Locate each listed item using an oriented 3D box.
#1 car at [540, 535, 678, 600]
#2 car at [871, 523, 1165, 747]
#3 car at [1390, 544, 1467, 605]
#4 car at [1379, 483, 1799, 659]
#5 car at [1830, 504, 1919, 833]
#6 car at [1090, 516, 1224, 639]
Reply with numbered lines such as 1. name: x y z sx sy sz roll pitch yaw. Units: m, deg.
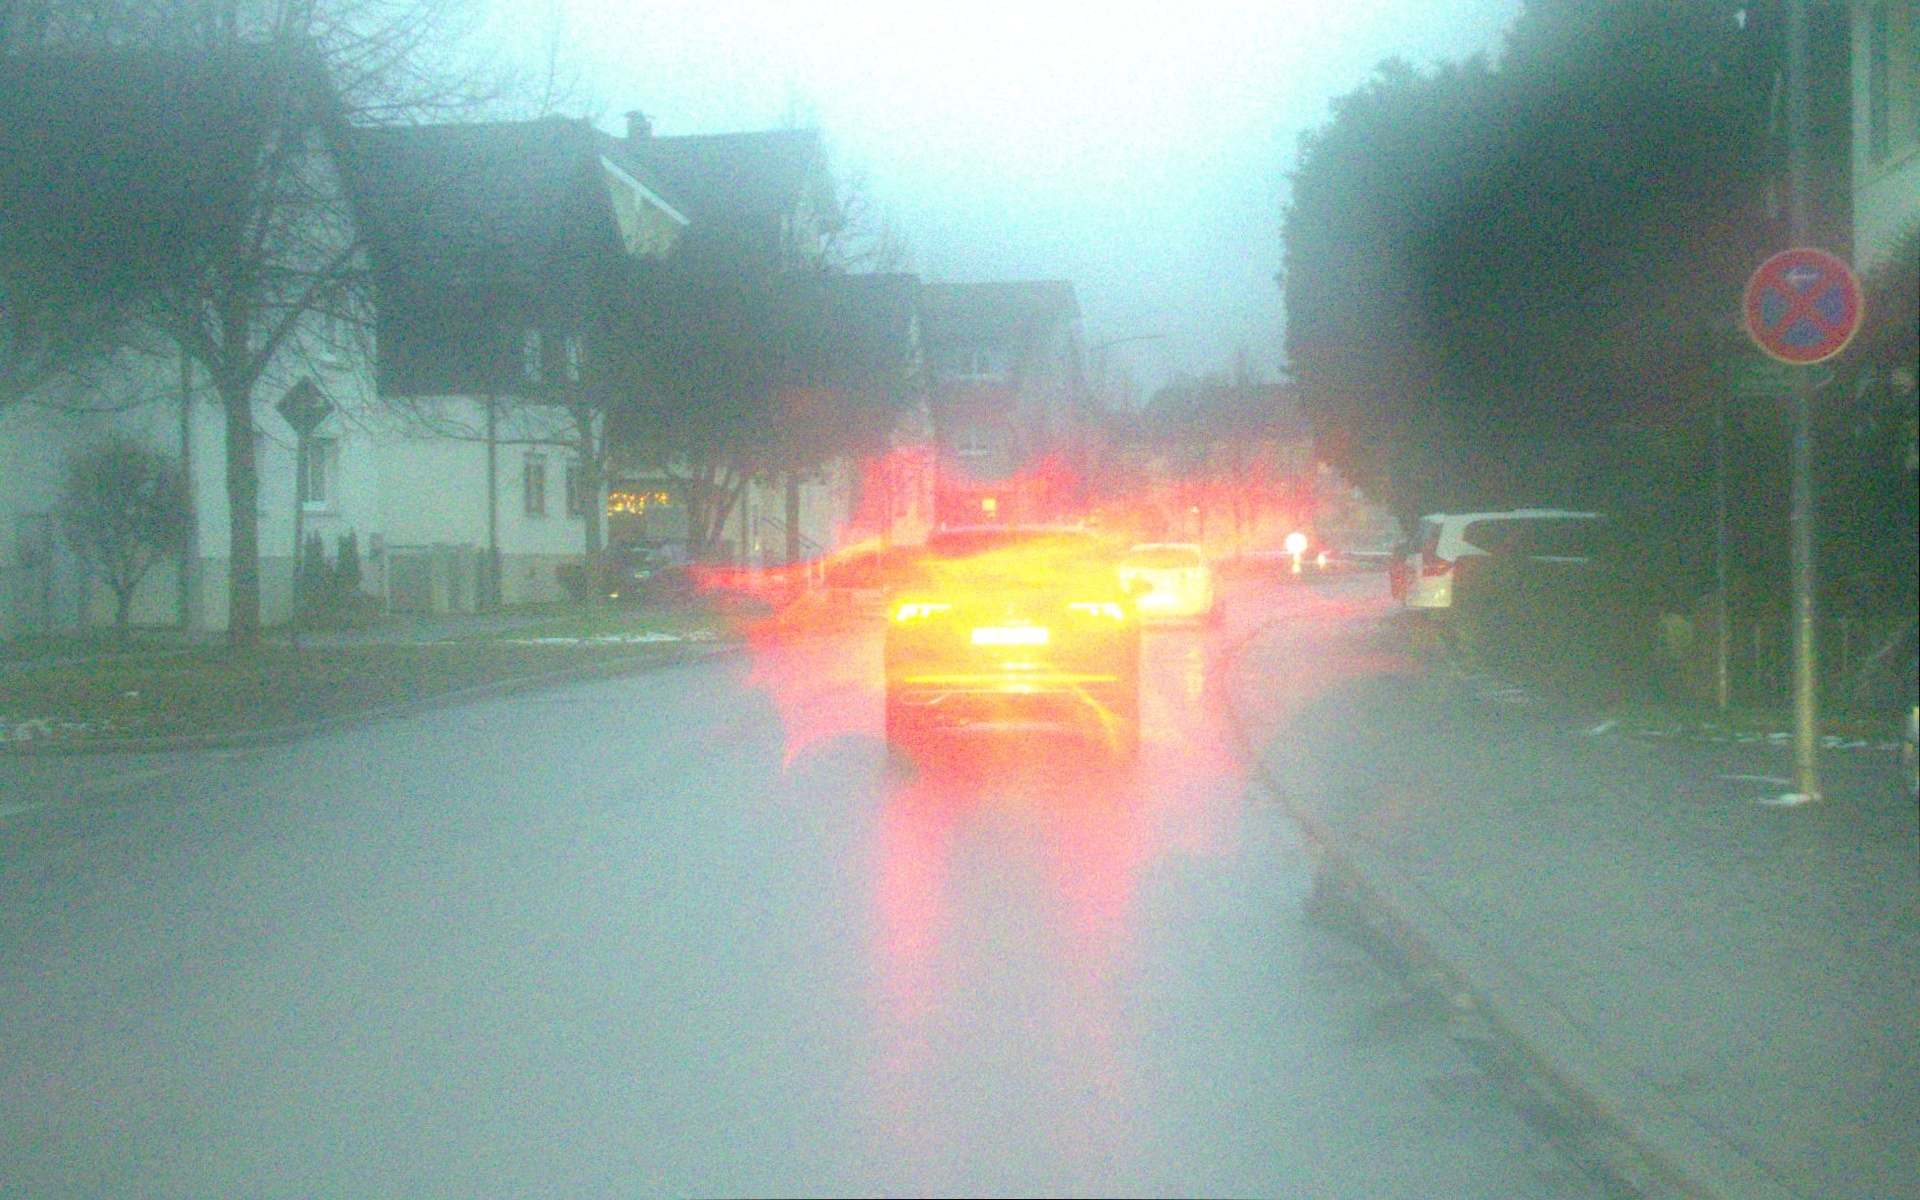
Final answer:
1. car: -7.641 -0.721 75.190 1.783 1.361 3.998 1 1 13
2. car: 0.343 0.202 25.387 1.993 1.520 4.000 0 1 -1
3. car: 12.064 -0.671 88.410 1.650 1.535 3.388 0 1 13
4. car: 7.043 -0.341 38.836 4.322 1.726 2.000 -3 1 1
5. car: 5.446 0.330 15.501 1.893 1.549 4.756 0 1 1
6. car: 3.415 -0.398 58.874 1.994 2.007 3.999 1 1 7
